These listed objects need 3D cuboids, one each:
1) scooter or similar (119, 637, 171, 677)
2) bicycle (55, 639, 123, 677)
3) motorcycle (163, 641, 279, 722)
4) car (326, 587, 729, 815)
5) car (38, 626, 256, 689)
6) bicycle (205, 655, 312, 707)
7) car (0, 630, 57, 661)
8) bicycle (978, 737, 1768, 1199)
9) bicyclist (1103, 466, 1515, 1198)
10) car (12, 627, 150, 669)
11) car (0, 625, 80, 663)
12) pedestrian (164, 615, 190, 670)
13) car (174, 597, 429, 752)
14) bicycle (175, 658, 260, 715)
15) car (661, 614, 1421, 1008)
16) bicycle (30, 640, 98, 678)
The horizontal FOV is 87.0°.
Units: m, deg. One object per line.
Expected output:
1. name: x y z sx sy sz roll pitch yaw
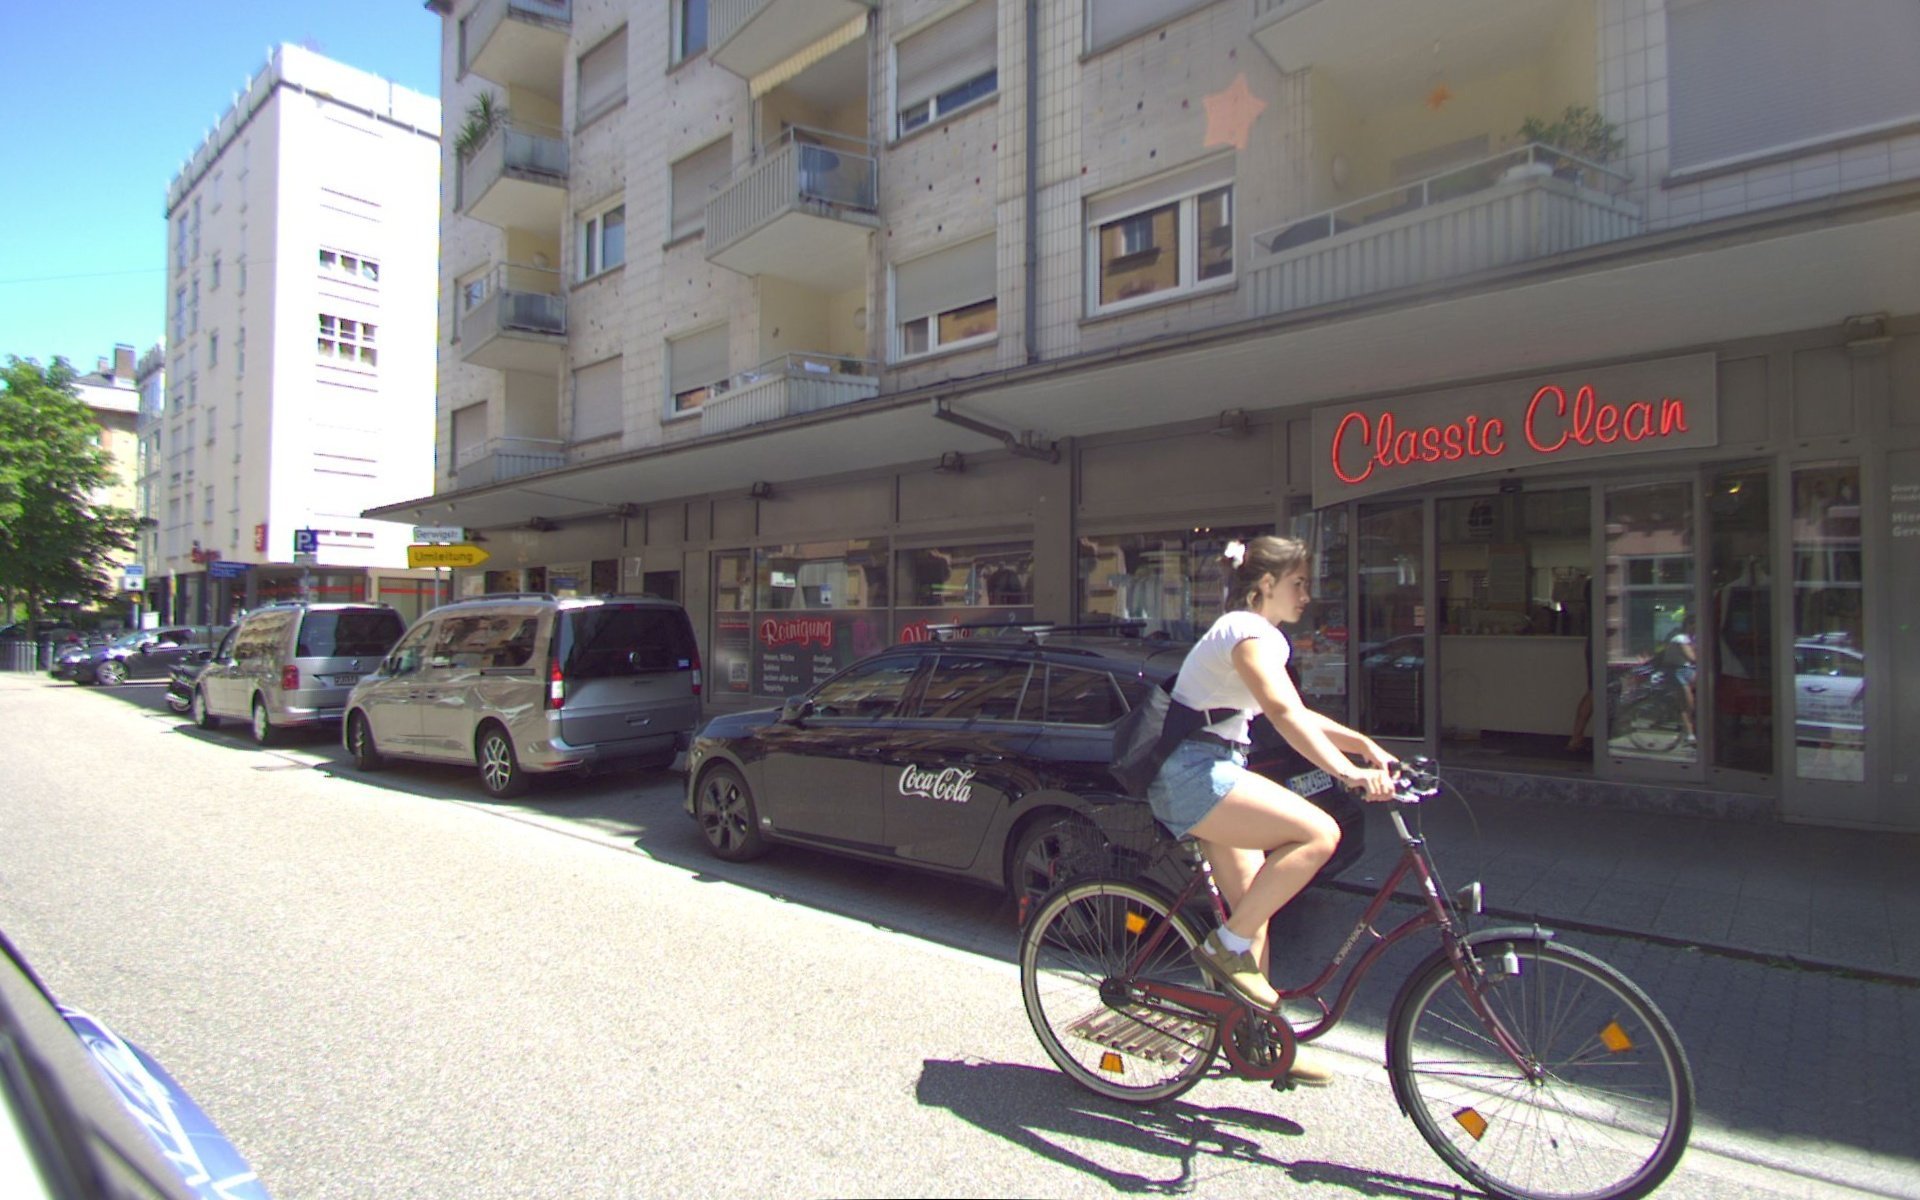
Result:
1. scooter or similar: -24.897 1.730 30.910 0.289 1.176 1.177 -2 -3 39
2. bicycle: -26.830 1.786 31.191 1.586 1.099 0.371 0 -1 -44
3. motorcycle: -12.355 1.347 16.950 1.530 1.293 0.394 0 0 -17
4. car: -4.558 0.871 10.305 4.693 1.825 1.771 -2 -2 39
5. car: -20.132 1.398 25.208 1.810 1.436 3.848 -1 -3 33
6. bicycle: -13.490 1.550 19.485 1.684 0.964 0.411 0 -1 -6
7. car: -48.165 2.276 50.926 1.651 1.507 3.835 -2 -3 40
8. bicycle: 1.022 1.021 2.882 1.934 1.100 0.598 -1 -3 34
9. bicyclist: 0.996 0.557 2.940 0.977 1.719 0.617 -2 -3 37
10. car: -34.268 1.858 39.536 1.651 1.541 3.835 -2 -3 40
11. car: -43.948 2.056 47.431 1.651 1.760 3.835 -2 -3 40
12. pedestrian: -30.739 1.658 39.721 0.599 2.141 0.496 1 -2 -13
13. car: -9.453 0.956 14.350 4.898 1.843 1.770 -2 -2 41
14. bicycle: -13.047 1.520 17.792 1.194 0.964 0.337 0 -1 -6
15. car: 0.155 0.882 6.077 4.462 1.537 1.652 -2 -2 42
16. bicycle: -28.247 1.849 31.912 1.586 1.099 0.371 0 -1 -44
